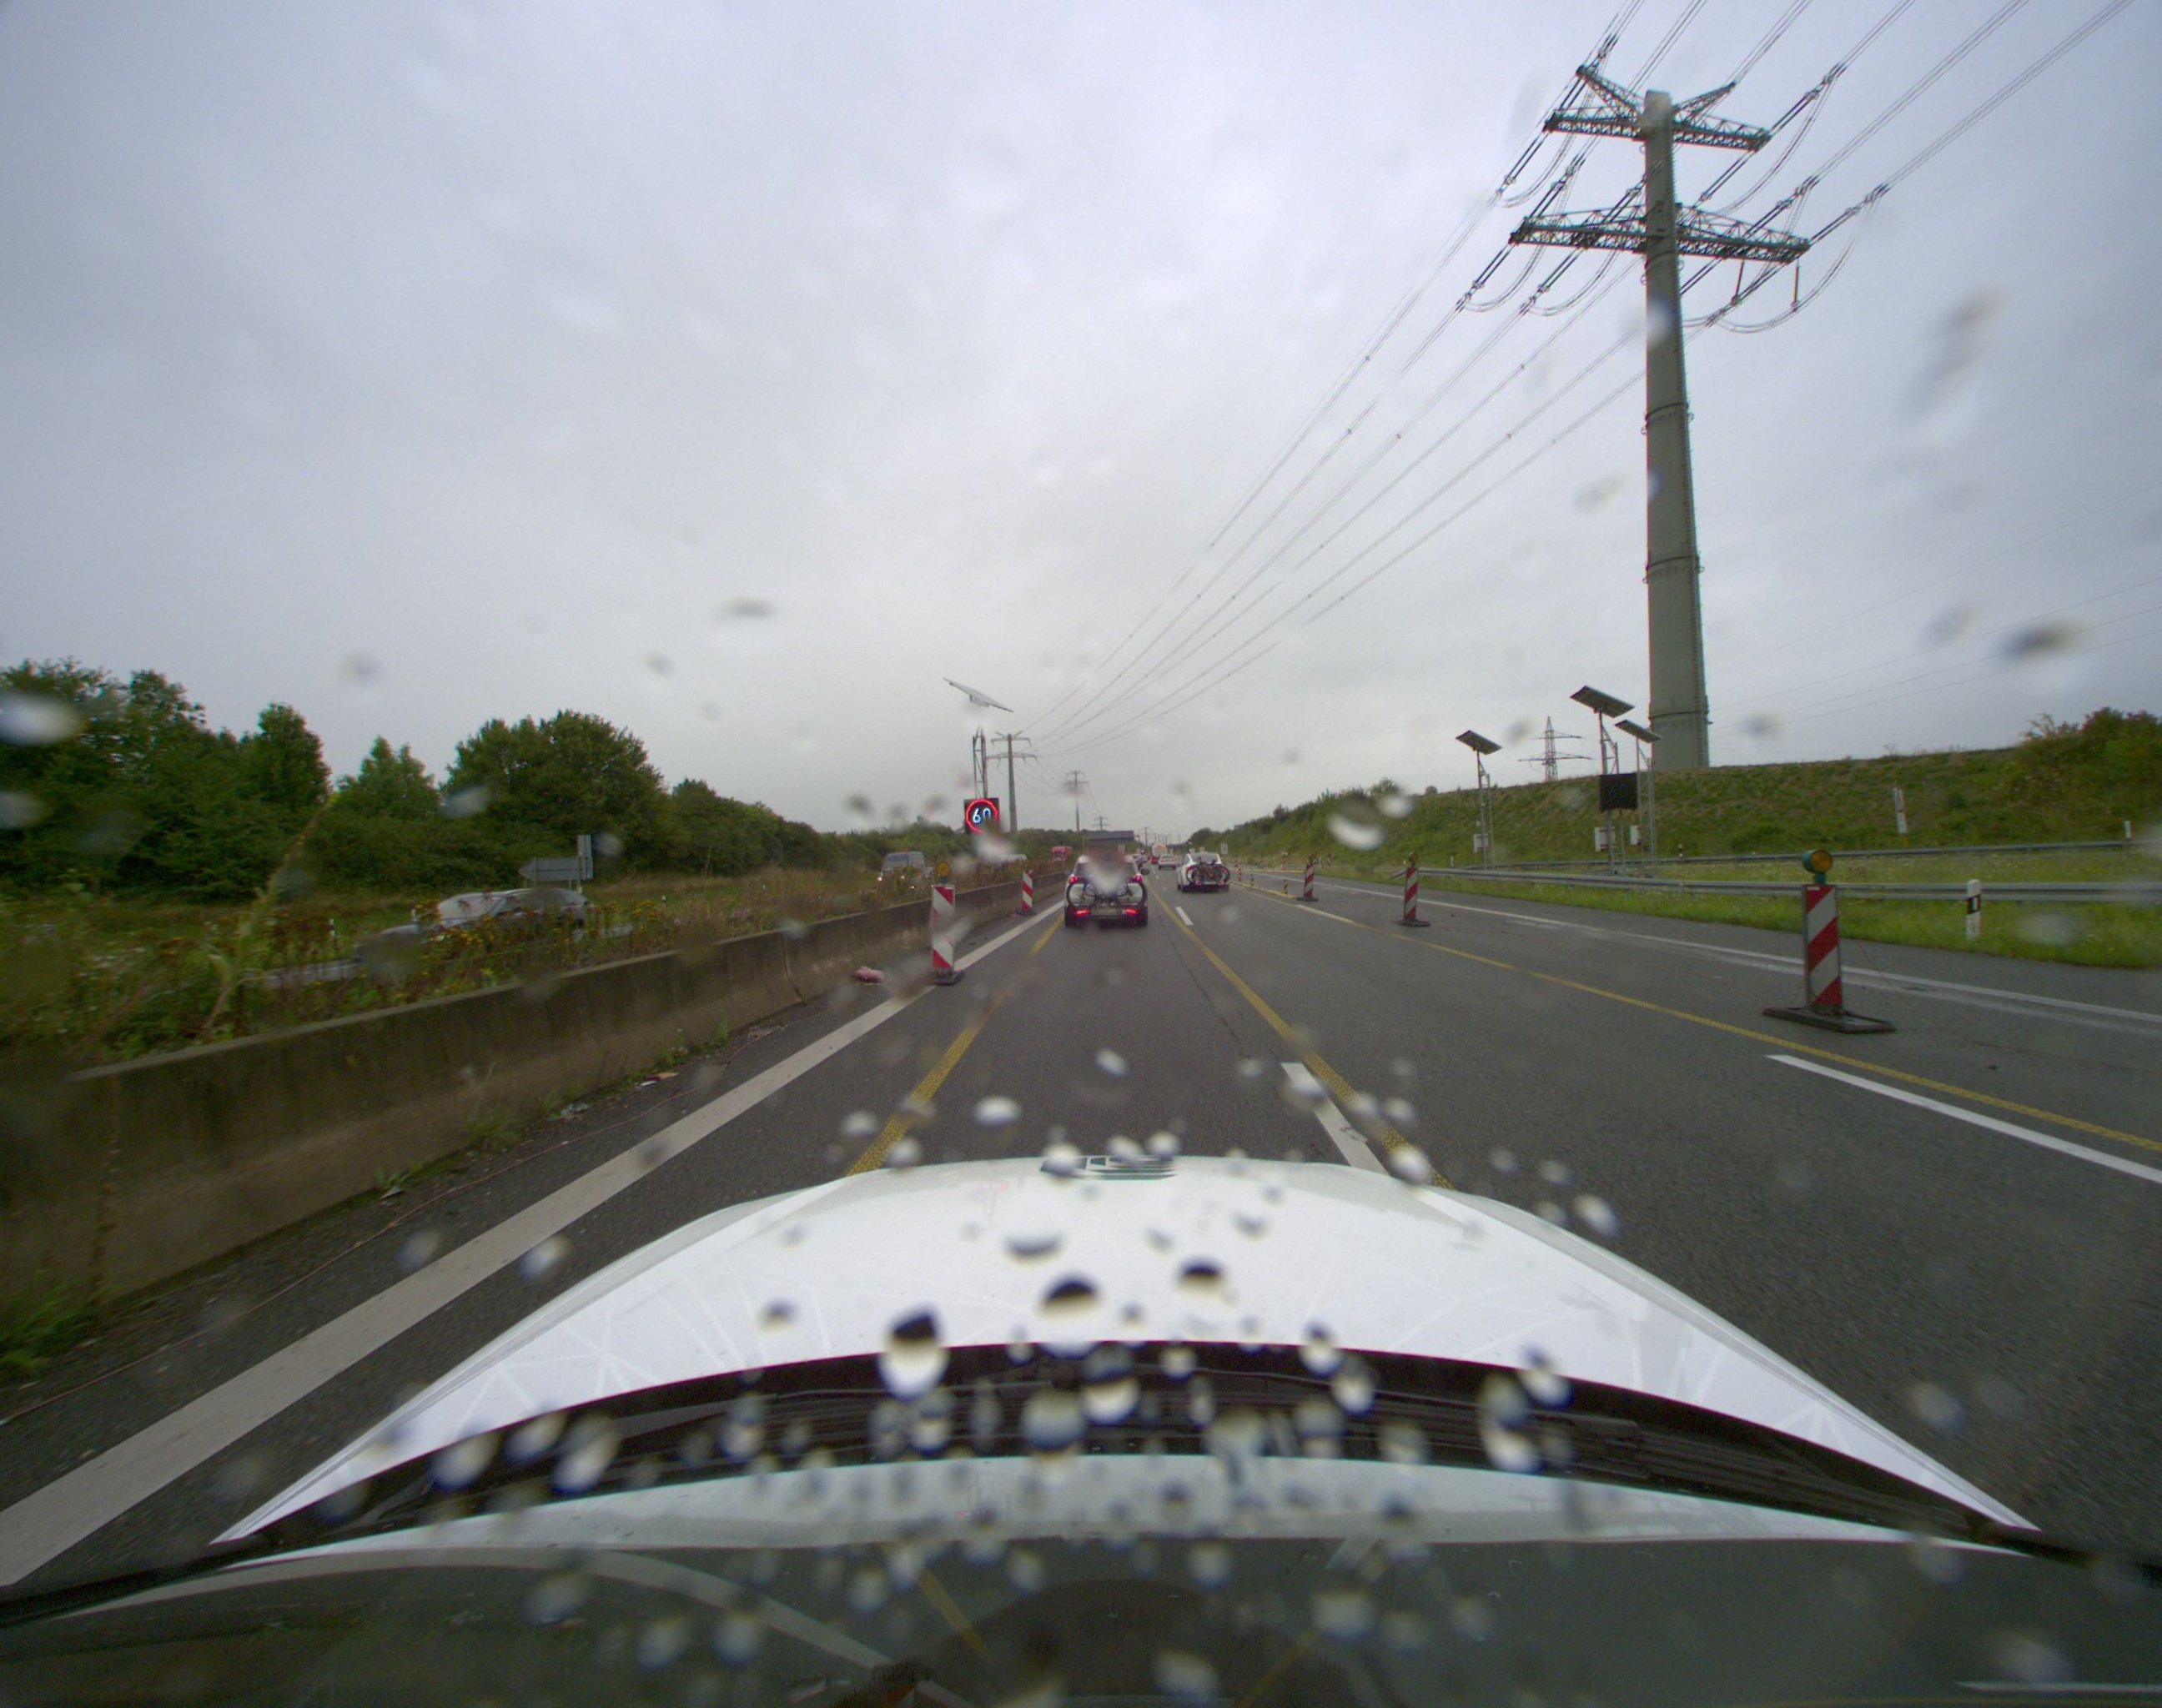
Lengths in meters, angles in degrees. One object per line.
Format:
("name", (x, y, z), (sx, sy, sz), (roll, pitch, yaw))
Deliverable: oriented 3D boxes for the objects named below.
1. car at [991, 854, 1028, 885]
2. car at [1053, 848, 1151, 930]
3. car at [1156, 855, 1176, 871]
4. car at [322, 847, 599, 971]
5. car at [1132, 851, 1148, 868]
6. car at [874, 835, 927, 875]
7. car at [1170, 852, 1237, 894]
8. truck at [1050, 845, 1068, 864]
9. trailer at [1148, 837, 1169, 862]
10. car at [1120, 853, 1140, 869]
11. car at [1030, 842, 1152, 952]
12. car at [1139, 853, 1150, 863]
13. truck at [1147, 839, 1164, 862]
("car", (-5.027, 1.071, 57.868), (1.760, 2.013, 5.259), (2, 0, 4))
("car", (0.561, 0.708, 18.548), (1.920, 1.611, 4.599), (-1, 0, 3))
("car", (8.708, 0.876, 83.639), (1.861, 1.535, 4.202), (-1, 0, 5))
("car", (-11.358, 0.931, 15.349), (1.985, 2.014, 4.003), (-1, -1, 3))
("car", (8.341, 0.747, 115.091), (1.986, 2.012, 4.004), (0, 6, 1))
("car", (-12.255, 0.118, 55.771), (2.042, 2.609, 5.850), (-1, -1, 3))
("car", (5.016, 0.754, 34.156), (2.038, 1.596, 5.802), (-1, 0, 1))
("truck", (-4.233, 0.197, 157.219), (3.011, 3.531, 4.930), (-1, -1, 3))
("trailer", (12.764, -0.614, 134.842), (2.628, 3.893, 10.544), (-1, -1, 1))
("car", (5.270, 0.726, 87.751), (1.986, 1.584, 4.001), (-1, 0, 1))
("car", (0.264, 0.716, 15.707), (1.985, 1.760, 4.003), (-3, 0, 3))
("car", (12.967, 0.844, 166.876), (1.986, 2.014, 4.001), (-1, -1, 1))
("truck", (12.887, -0.509, 141.364), (2.635, 3.891, 4.030), (0, -1, 1))
